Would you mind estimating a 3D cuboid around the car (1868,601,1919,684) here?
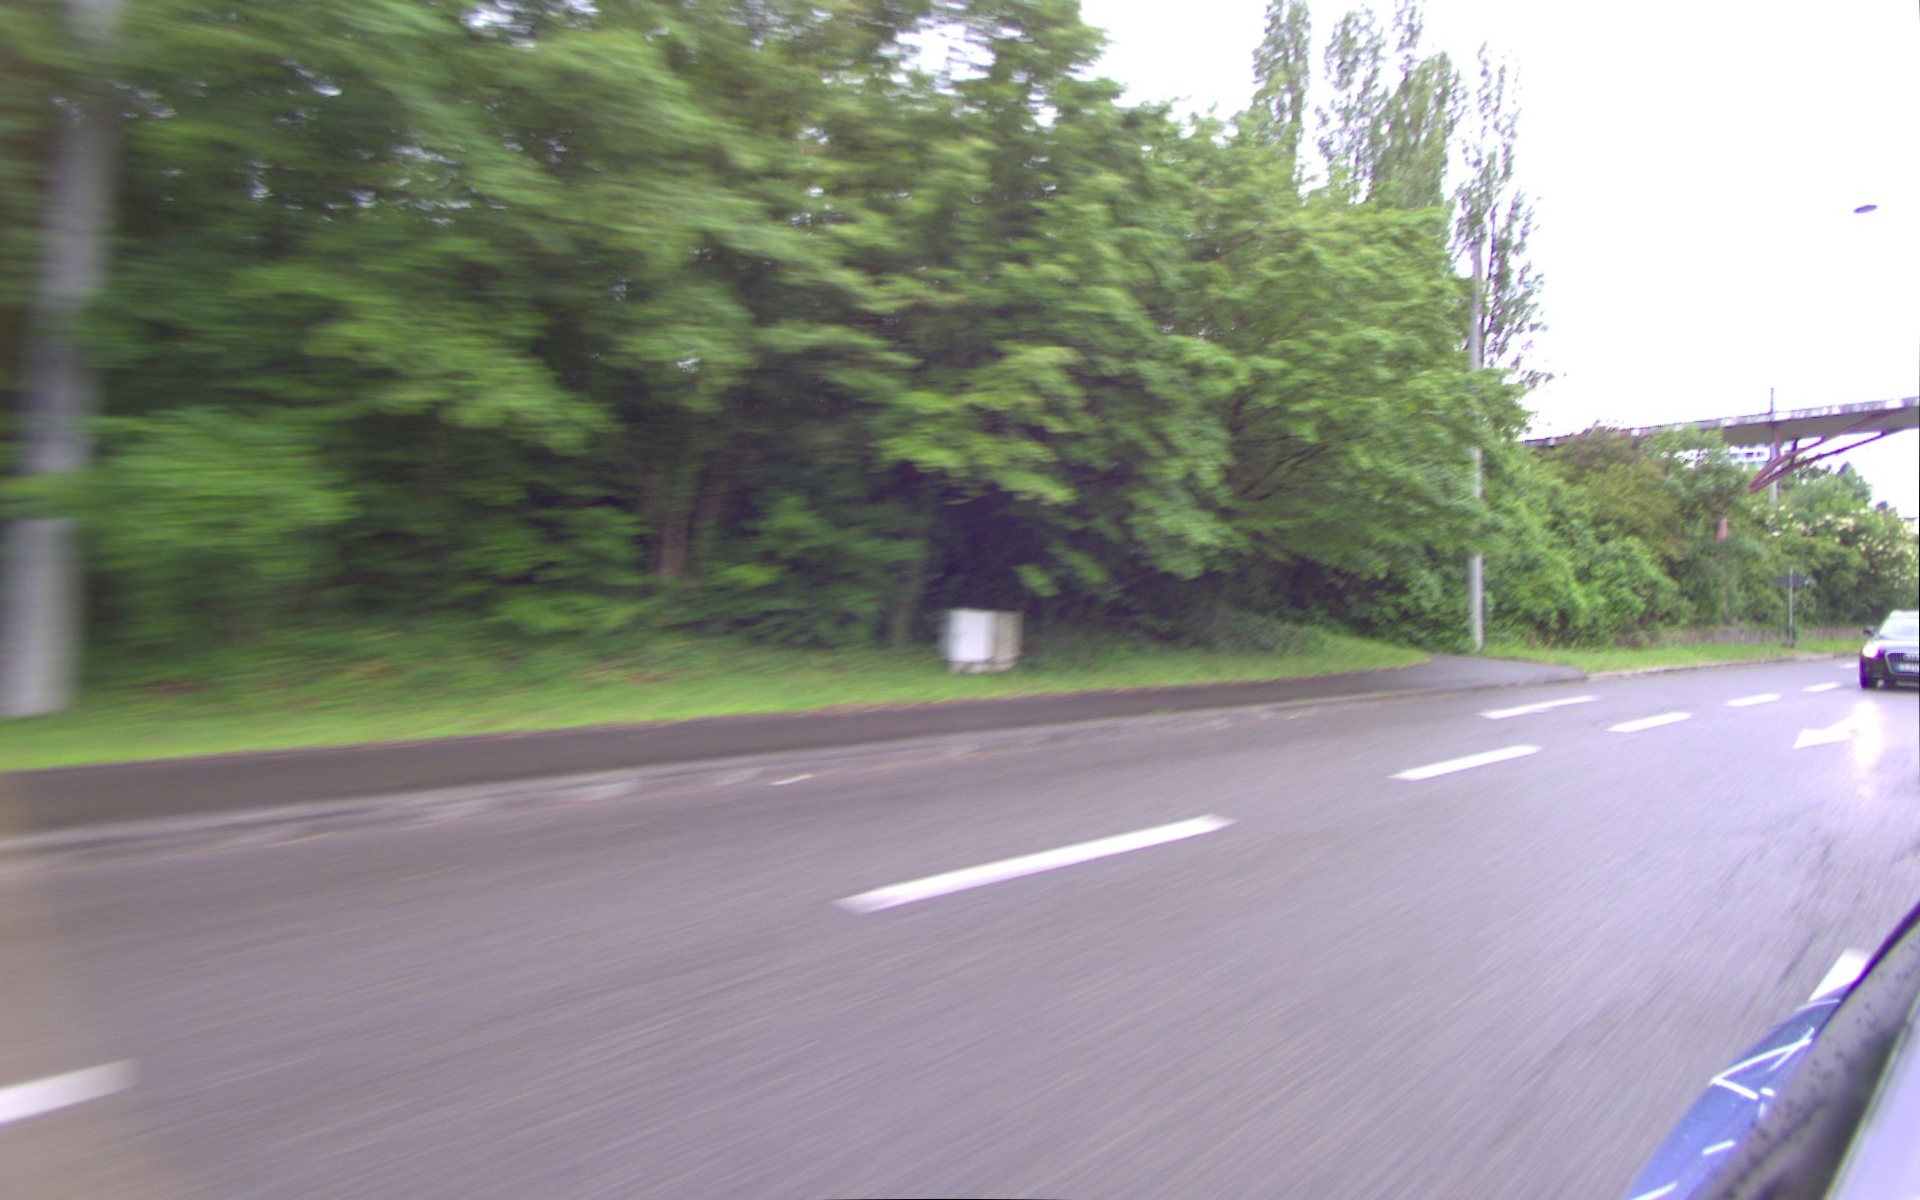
[{"bbox_3d":[20.536,0.861,21.028,4.203,1.621,1.926,1,-1,-40],"label":"car"}]
